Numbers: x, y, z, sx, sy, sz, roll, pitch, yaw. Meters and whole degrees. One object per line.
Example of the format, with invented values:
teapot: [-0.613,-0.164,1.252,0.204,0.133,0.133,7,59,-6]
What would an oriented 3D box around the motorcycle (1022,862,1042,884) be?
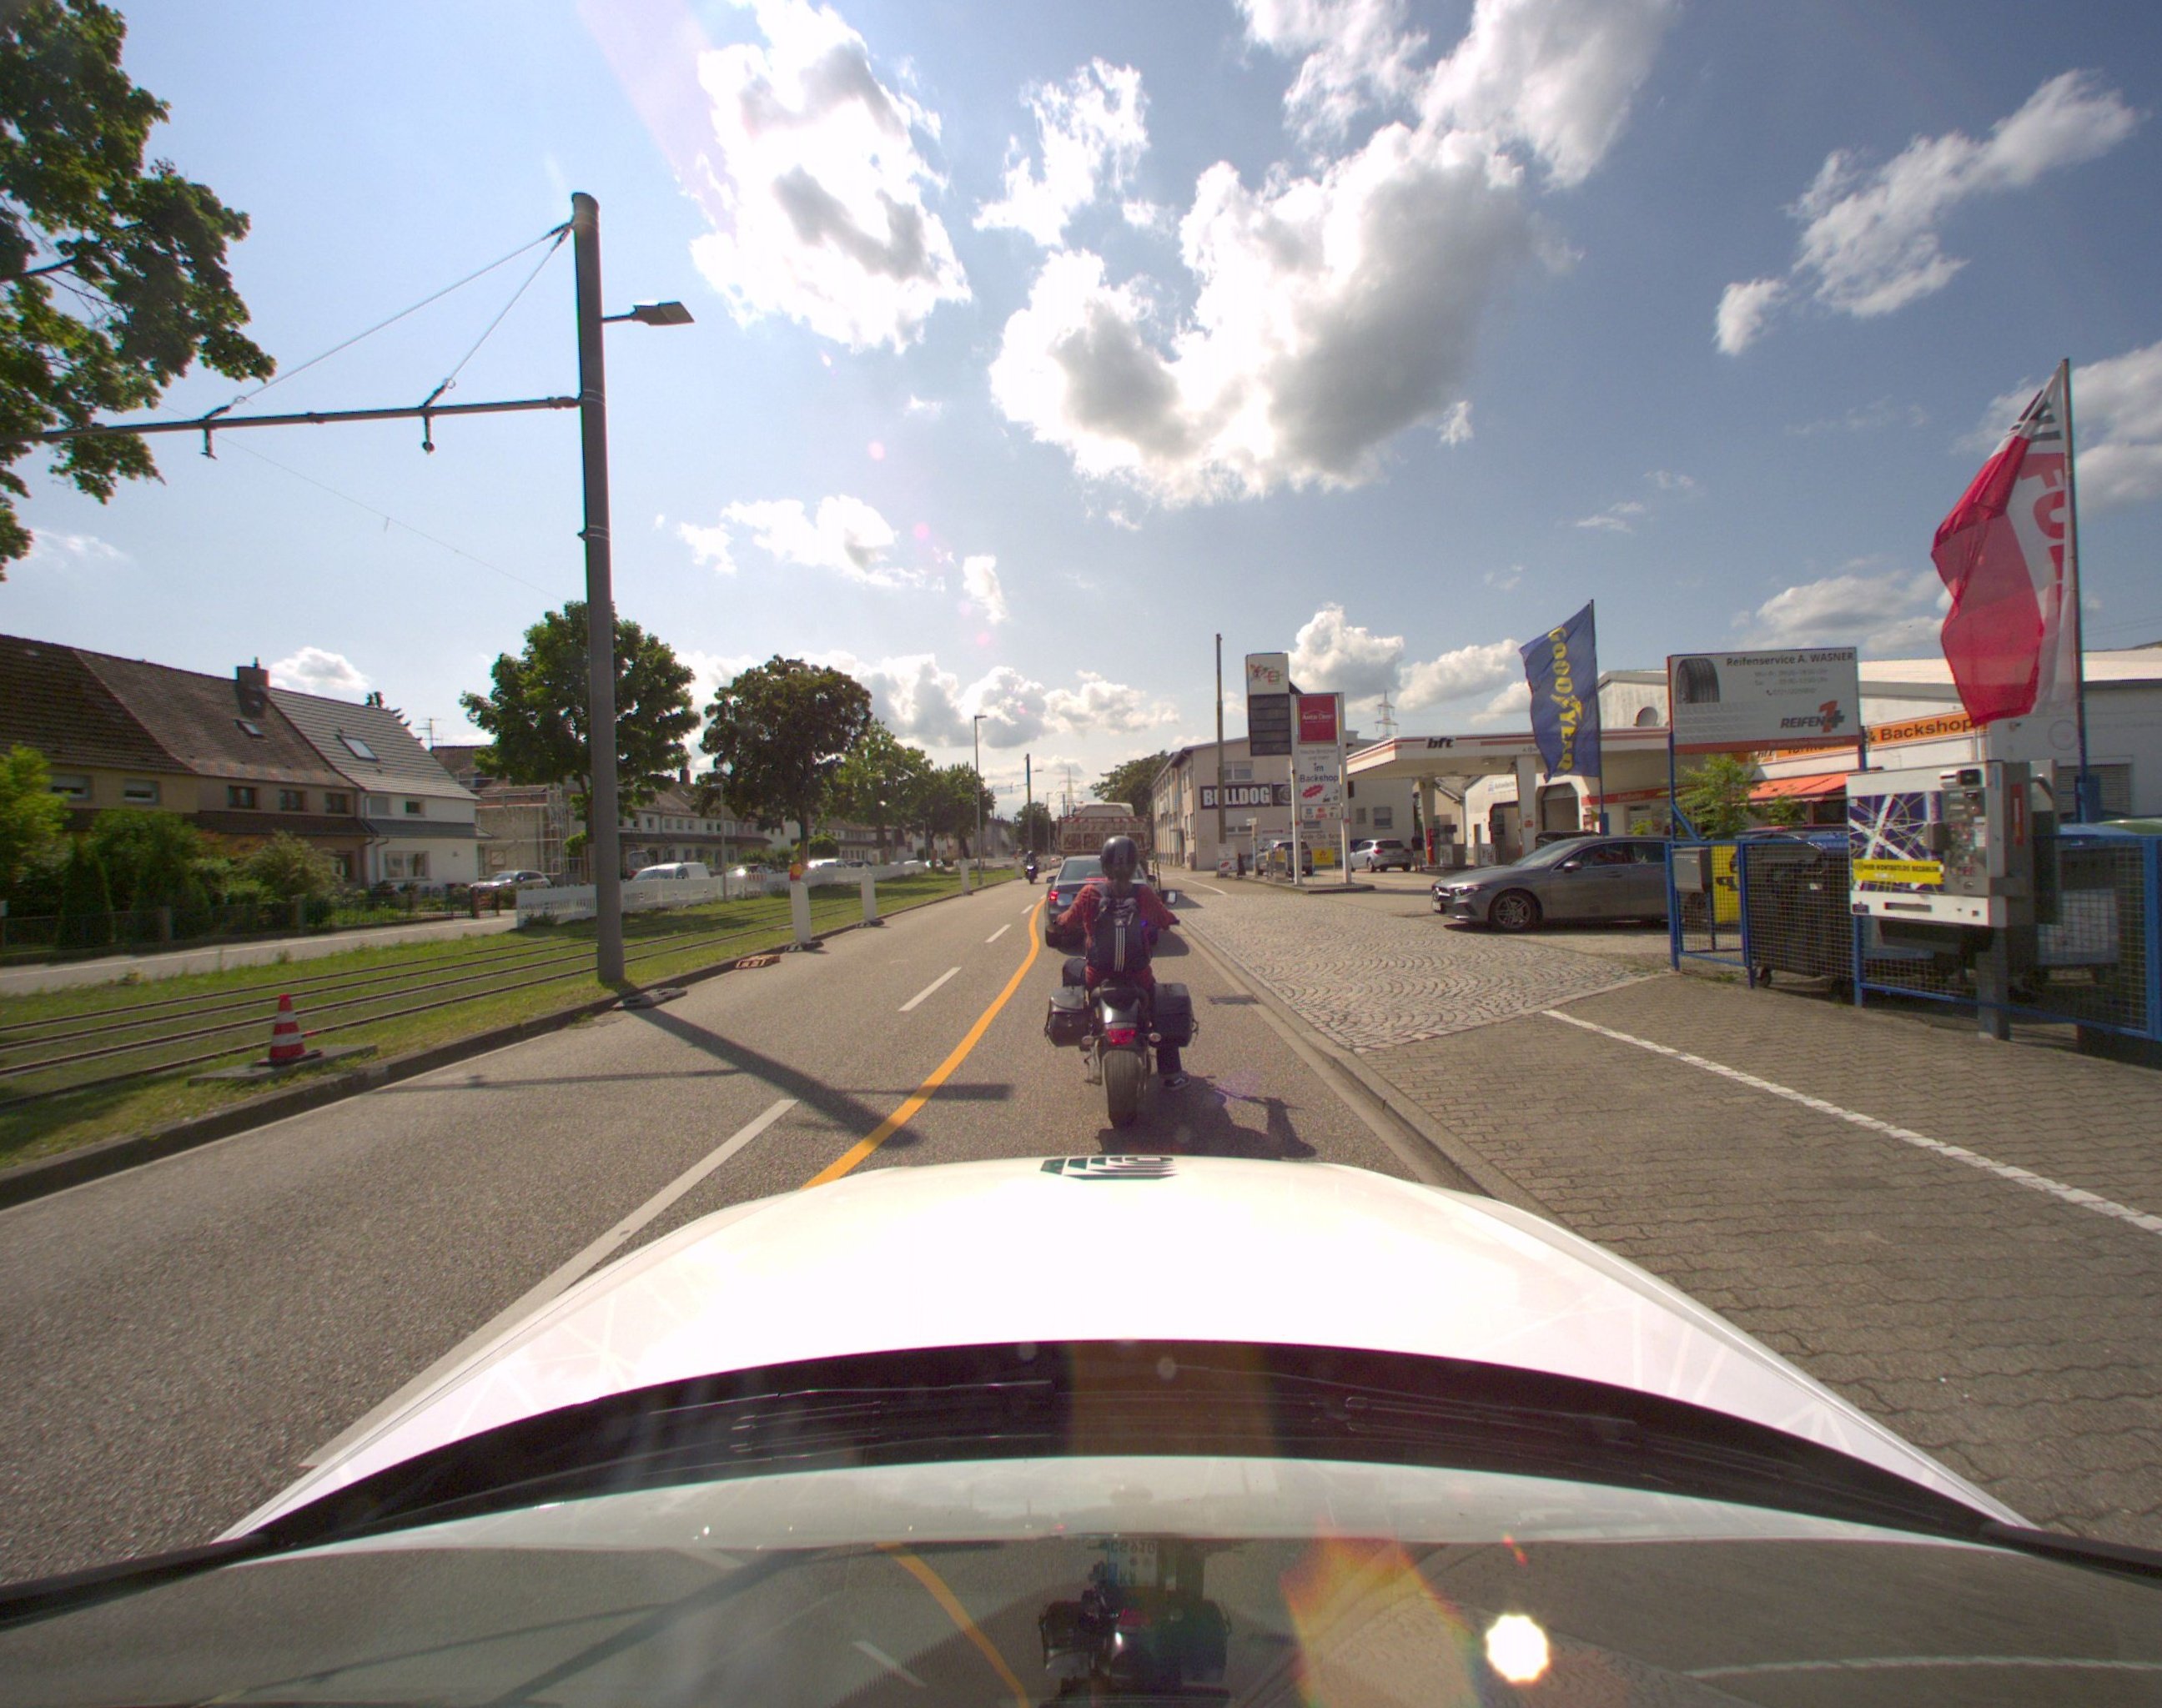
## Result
motorcycle: [-2.471,0.937,41.184,0.866,1.021,2.244,-2,0,-1]

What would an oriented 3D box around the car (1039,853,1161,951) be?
car: [0.348,0.721,14.262,1.816,1.452,4.002,0,0,2]

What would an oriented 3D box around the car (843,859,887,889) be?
car: [-14.805,1.340,56.039,1.769,1.805,4.130,-2,0,2]

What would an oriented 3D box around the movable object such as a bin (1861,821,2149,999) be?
movable object such as a bin: [8.081,0.448,7.219,1.104,1.396,1.244,-2,0,1]

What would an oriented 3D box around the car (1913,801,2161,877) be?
car: [21.520,-0.337,18.165,4.180,1.463,1.587,-2,0,2]

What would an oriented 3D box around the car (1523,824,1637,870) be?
car: [18.118,-0.243,29.785,1.800,1.503,3.833,-2,0,0]

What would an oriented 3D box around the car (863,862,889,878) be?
car: [-24.389,1.845,97.044,1.769,1.722,4.130,-2,0,2]

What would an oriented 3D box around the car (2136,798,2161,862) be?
car: [26.524,-0.633,18.002,4.180,1.463,1.587,-2,0,2]

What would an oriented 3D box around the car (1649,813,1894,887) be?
car: [15.772,-0.085,18.758,4.180,1.463,1.587,-2,0,2]

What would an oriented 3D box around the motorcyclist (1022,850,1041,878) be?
motorcyclist: [-2.483,0.502,41.210,0.866,1.378,0.800,-2,0,-1]

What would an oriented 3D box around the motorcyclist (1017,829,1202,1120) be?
motorcyclist: [0.178,0.679,5.142,0.975,1.602,1.088,-2,0,1]

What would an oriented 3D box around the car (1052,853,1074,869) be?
car: [-1.735,0.644,78.648,1.816,1.452,4.326,-3,0,2]

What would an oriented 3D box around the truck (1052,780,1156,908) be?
truck: [0.733,-0.285,25.729,2.628,3.296,8.059,-2,0,2]

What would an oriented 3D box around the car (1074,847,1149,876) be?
car: [1.849,0.455,48.535,4.202,1.543,1.678,-2,0,12]

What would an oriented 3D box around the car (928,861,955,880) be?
car: [-13.729,1.637,80.456,1.769,1.722,4.130,-2,0,2]

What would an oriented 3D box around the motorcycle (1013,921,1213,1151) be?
motorcycle: [0.202,1.028,5.446,0.975,0.897,2.654,-2,0,2]

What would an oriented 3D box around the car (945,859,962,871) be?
car: [-19.633,1.641,125.918,1.769,1.722,4.130,-2,0,2]

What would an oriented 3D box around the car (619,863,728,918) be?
car: [-15.438,1.320,31.156,1.769,1.821,4.366,-2,0,2]

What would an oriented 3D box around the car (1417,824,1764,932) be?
car: [7.699,0.361,12.694,4.247,1.415,1.678,-2,0,9]

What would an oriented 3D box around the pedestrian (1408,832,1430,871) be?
pedestrian: [14.651,-0.128,35.319,0.701,1.656,0.551,-2,0,37]

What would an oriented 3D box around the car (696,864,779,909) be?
car: [-15.409,1.401,36.800,1.769,1.774,4.230,-2,0,2]

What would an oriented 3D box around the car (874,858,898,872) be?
car: [-25.160,1.408,105.204,1.769,1.722,4.130,-2,0,2]

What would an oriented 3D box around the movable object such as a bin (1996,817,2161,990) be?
movable object such as a bin: [9.484,0.377,7.131,1.397,1.396,1.338,-2,0,1]

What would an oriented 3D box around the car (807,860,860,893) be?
car: [-15.065,1.333,49.862,1.769,1.867,4.130,-2,0,2]

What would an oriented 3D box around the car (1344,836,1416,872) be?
car: [13.475,-0.004,36.920,1.800,1.503,3.832,-2,0,-1]

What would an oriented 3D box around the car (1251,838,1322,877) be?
car: [9.115,0.154,36.453,1.665,1.562,4.235,-2,0,-6]

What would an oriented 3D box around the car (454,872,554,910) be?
car: [-27.438,1.731,38.896,1.769,1.519,4.002,-2,0,2]

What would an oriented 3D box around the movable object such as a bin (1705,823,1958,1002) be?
movable object such as a bin: [6.687,0.481,7.359,1.104,1.436,1.244,-2,0,1]
